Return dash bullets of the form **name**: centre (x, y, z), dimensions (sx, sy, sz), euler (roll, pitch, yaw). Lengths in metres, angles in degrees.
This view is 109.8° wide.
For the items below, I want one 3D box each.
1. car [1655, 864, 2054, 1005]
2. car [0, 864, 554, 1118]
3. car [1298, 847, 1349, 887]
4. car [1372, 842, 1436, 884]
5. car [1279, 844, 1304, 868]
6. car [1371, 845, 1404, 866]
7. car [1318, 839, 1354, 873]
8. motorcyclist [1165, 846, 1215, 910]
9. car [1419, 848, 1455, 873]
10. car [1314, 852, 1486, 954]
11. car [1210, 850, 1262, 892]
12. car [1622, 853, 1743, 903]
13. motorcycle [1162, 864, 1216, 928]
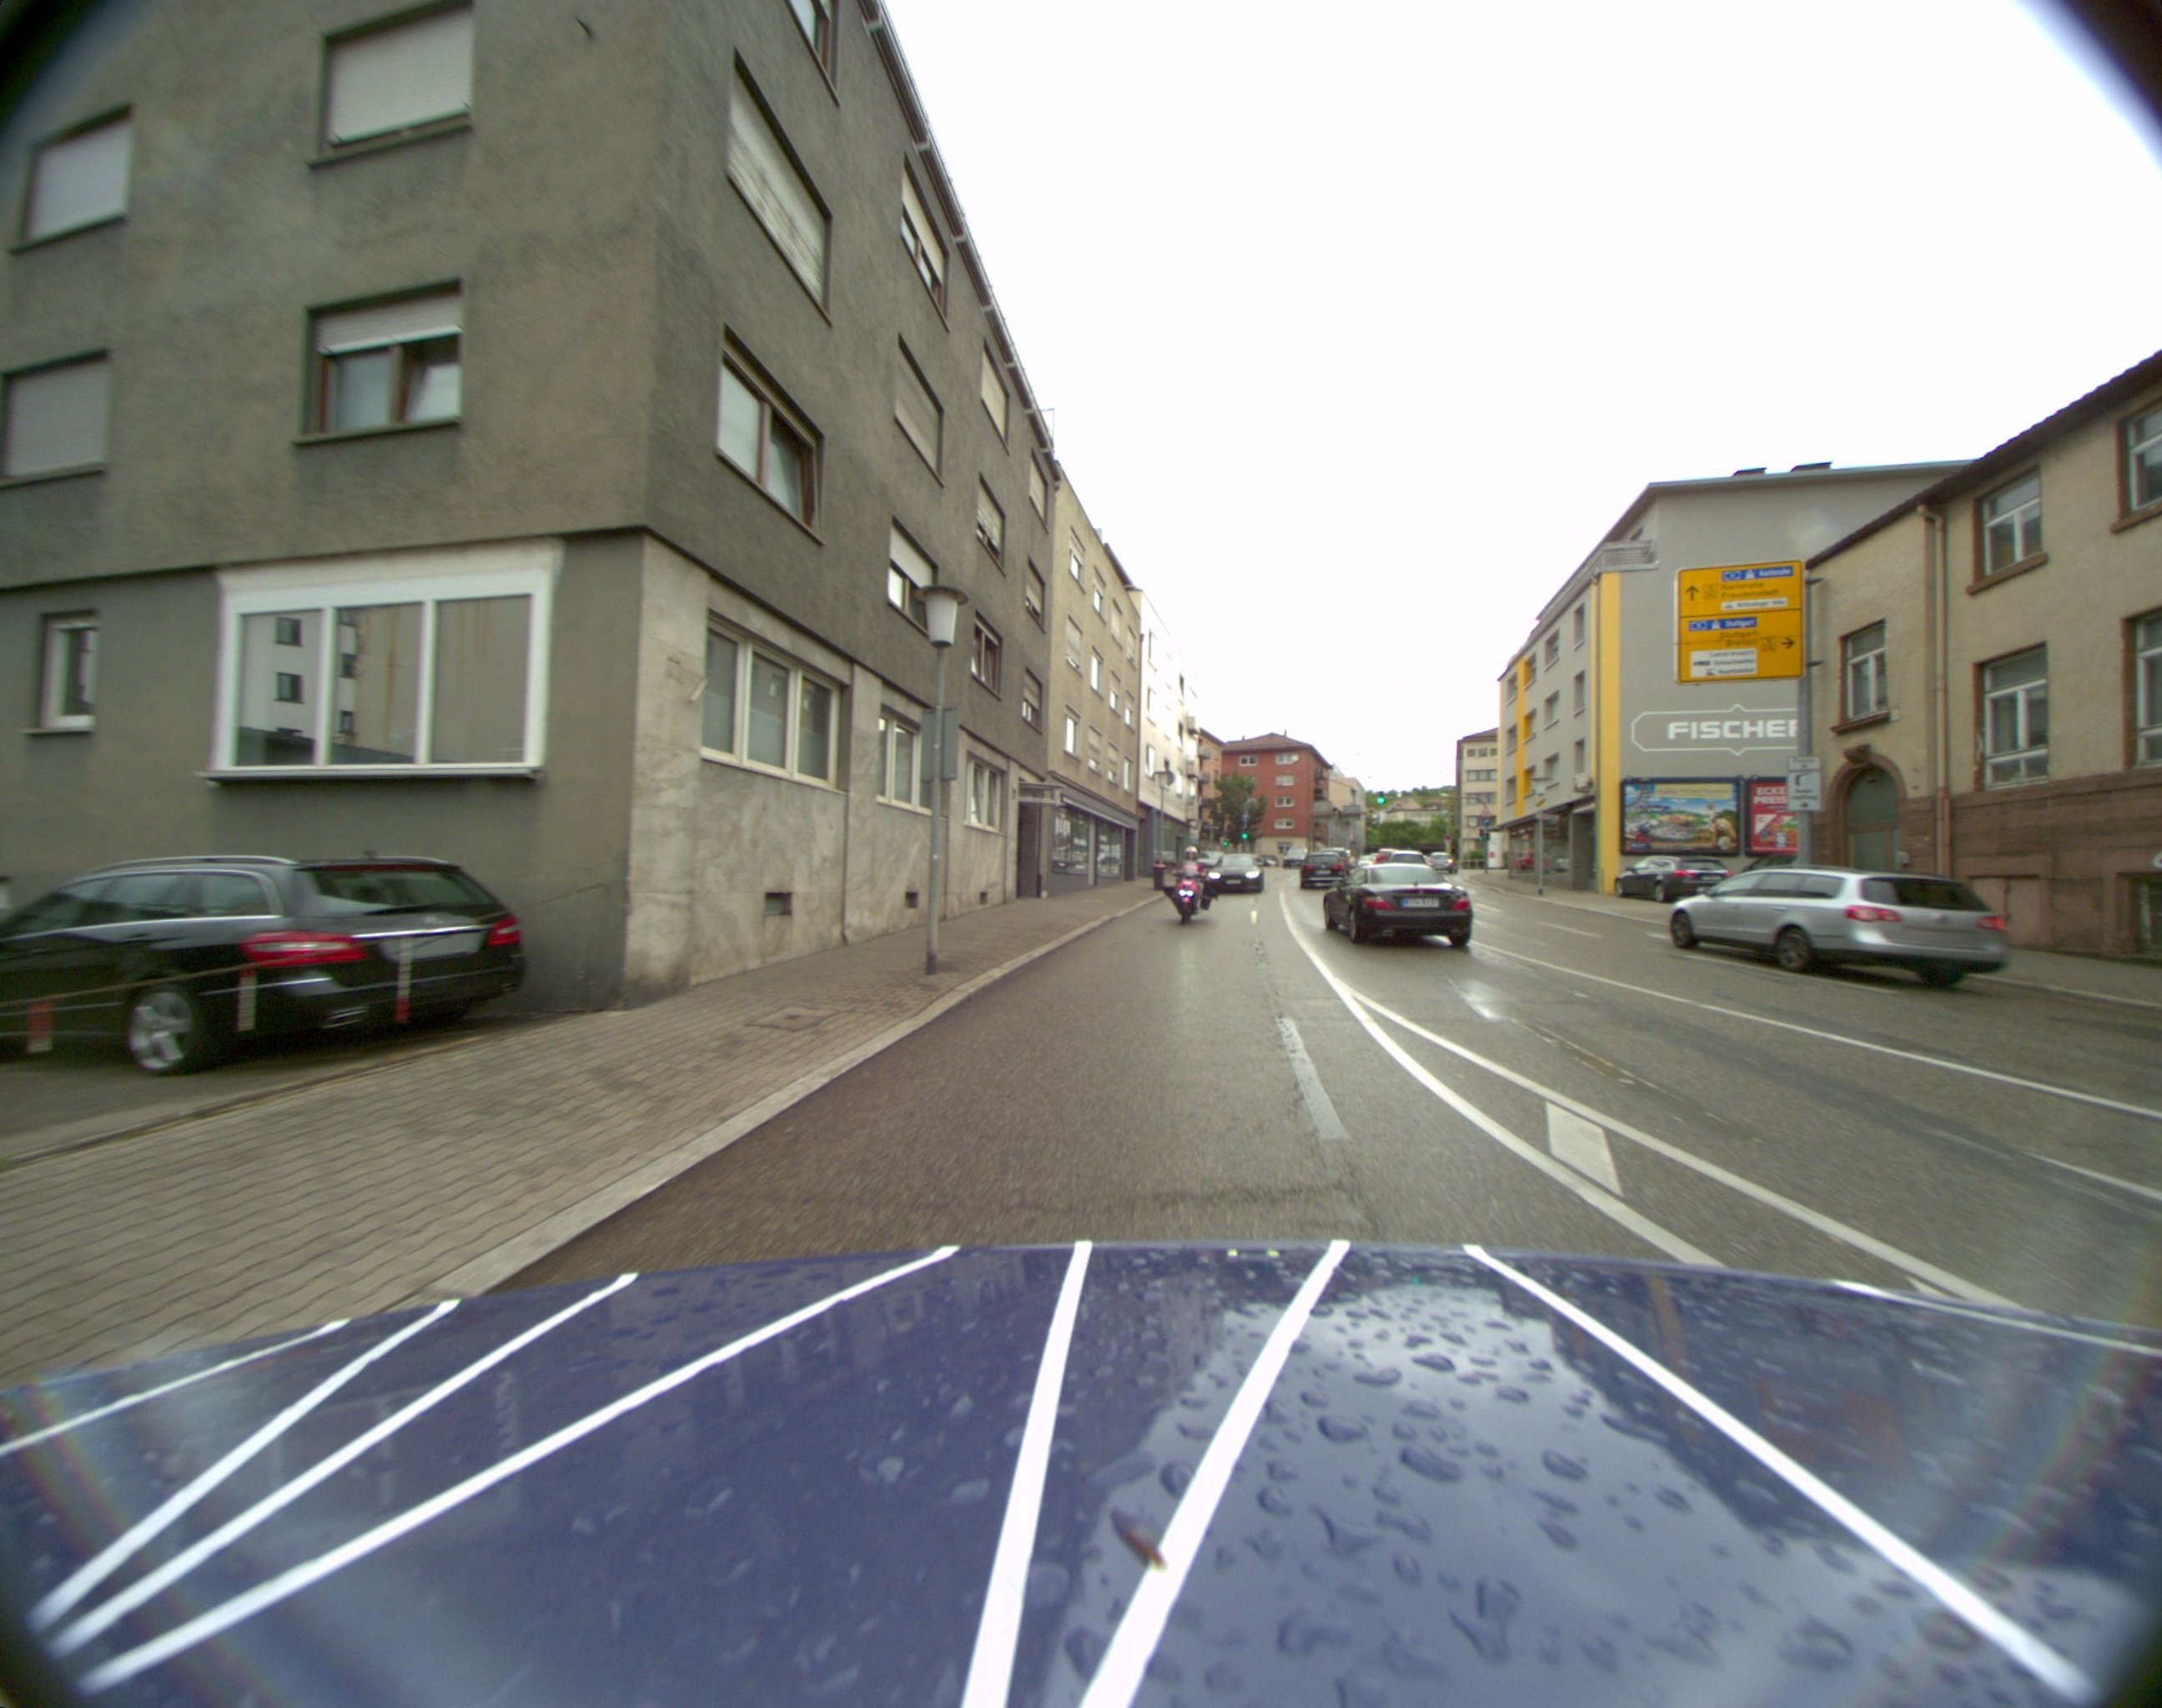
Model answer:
- **car**: centre (10.790, 0.980, 11.196), dimensions (1.860, 1.446, 4.321), euler (3, 1, 9)
- **car**: centre (-7.012, 0.896, 6.099), dimensions (4.528, 1.495, 2.002), euler (-1, 1, 13)
- **car**: centre (9.990, 0.494, 31.470), dimensions (1.860, 1.446, 4.323), euler (-1, 1, 16)
- **car**: centre (13.968, 0.346, 33.066), dimensions (1.860, 1.688, 4.322), euler (1, 1, 14)
- **car**: centre (17.218, 0.149, 62.022), dimensions (1.846, 1.893, 3.769), euler (1, 1, 16)
- **car**: centre (22.479, 0.066, 55.799), dimensions (1.860, 1.445, 4.323), euler (1, 1, 17)
- **car**: centre (15.163, 0.077, 45.322), dimensions (1.846, 1.893, 3.769), euler (1, 1, 15)
- **motorcyclist**: centre (2.445, 0.531, 16.949), dimensions (1.009, 1.373, 0.835), euler (-2, 1, 11)
- **car**: centre (25.783, 0.409, 55.185), dimensions (1.859, 1.688, 4.324), euler (1, 1, 19)
- **car**: centre (5.460, 0.731, 13.609), dimensions (1.861, 1.445, 4.321), euler (1, 1, 9)
- **car**: centre (6.078, 0.611, 29.461), dimensions (1.704, 1.452, 4.323), euler (-1, 0, 15)
- **car**: centre (19.483, 0.725, 24.838), dimensions (1.860, 1.445, 3.968), euler (-2, 0, 19)
- **motorcycle**: centre (2.464, 0.888, 16.993), dimensions (1.009, 1.219, 2.696), euler (-2, 0, 11)
